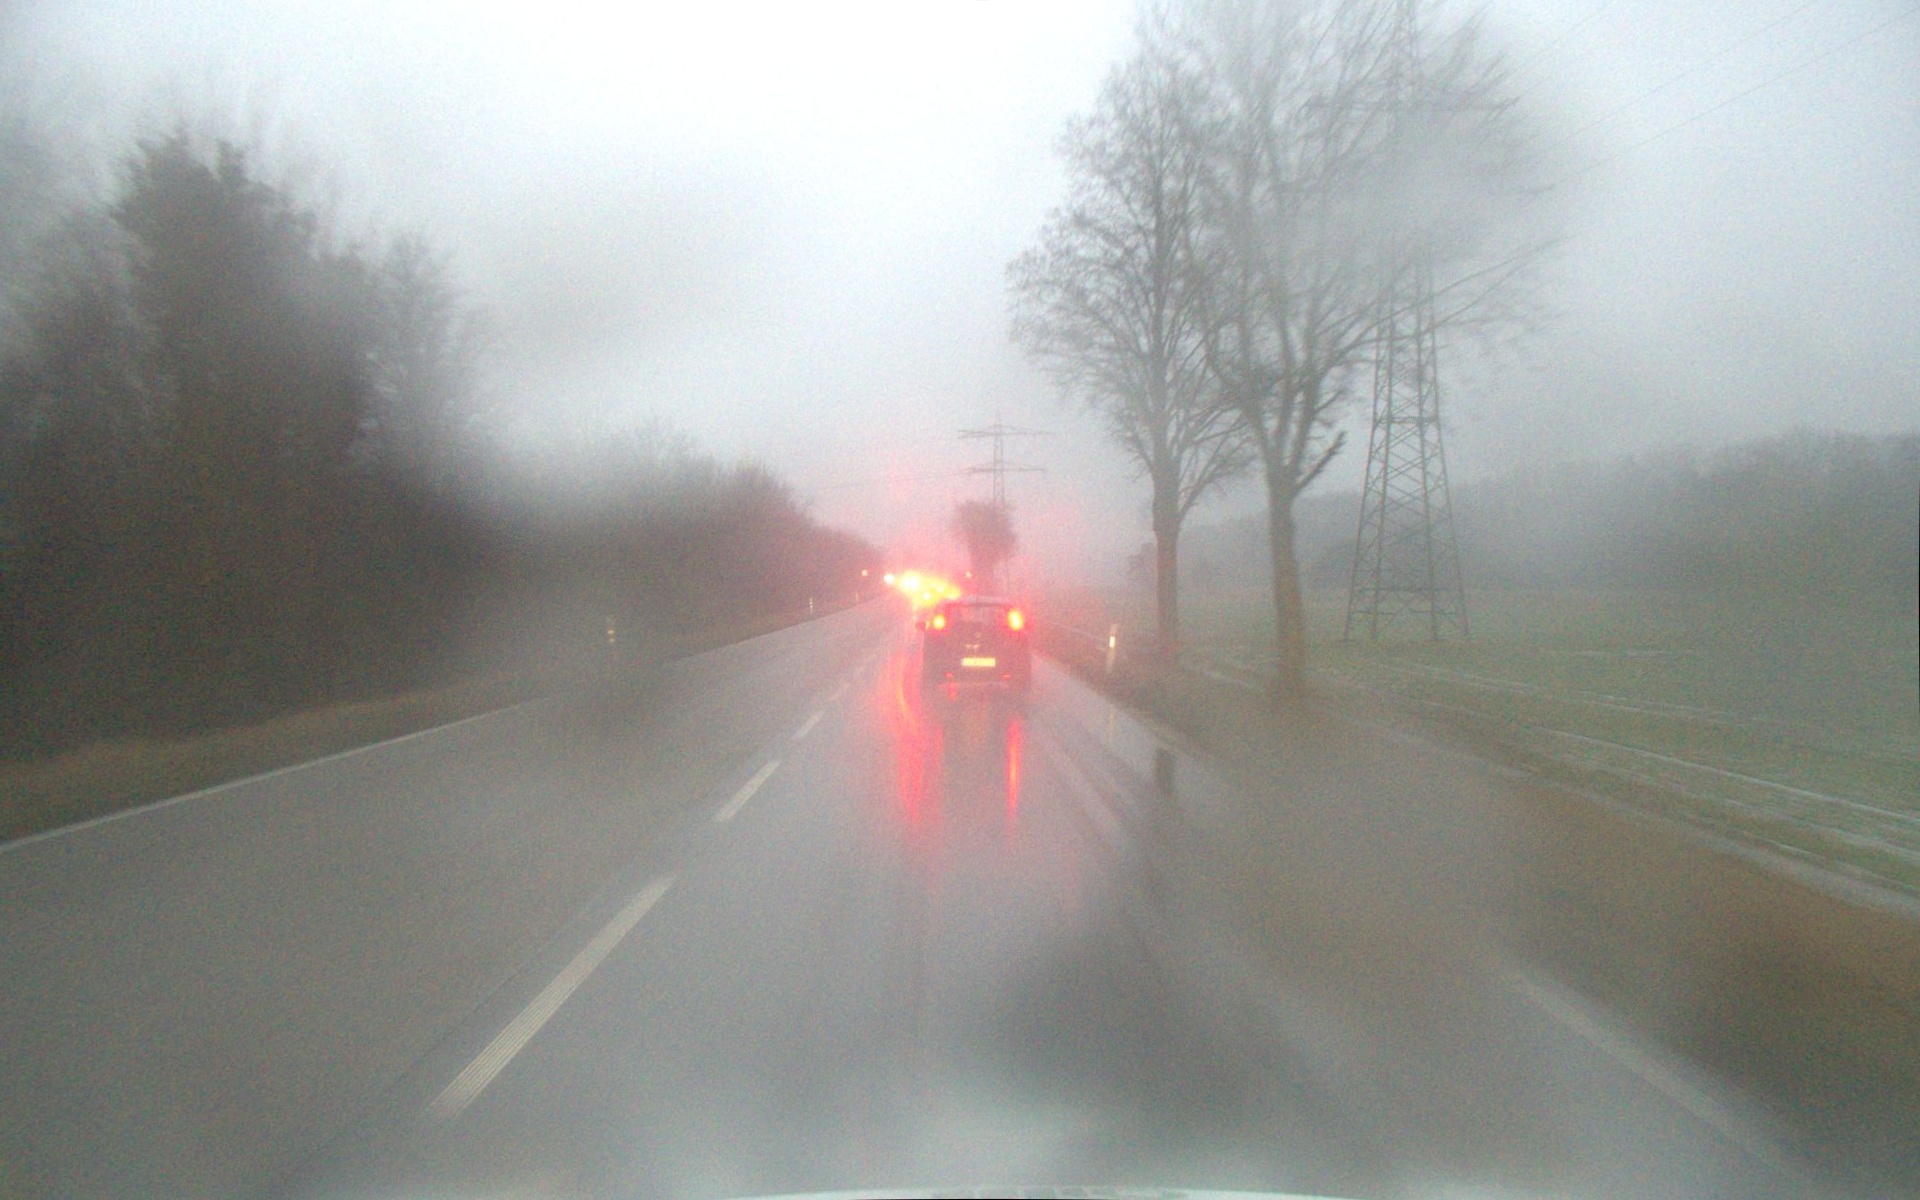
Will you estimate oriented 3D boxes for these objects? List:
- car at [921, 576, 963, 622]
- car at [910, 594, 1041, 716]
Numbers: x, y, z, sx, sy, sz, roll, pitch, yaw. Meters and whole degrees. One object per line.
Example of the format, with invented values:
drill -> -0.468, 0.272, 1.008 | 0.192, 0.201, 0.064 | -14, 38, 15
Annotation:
car -> -0.910, -0.067, 82.377 | 1.953, 2.048, 4.001 | 2, 3, -1
car -> 0.206, 0.818, 26.732 | 1.953, 1.782, 3.999 | 0, 0, -1
